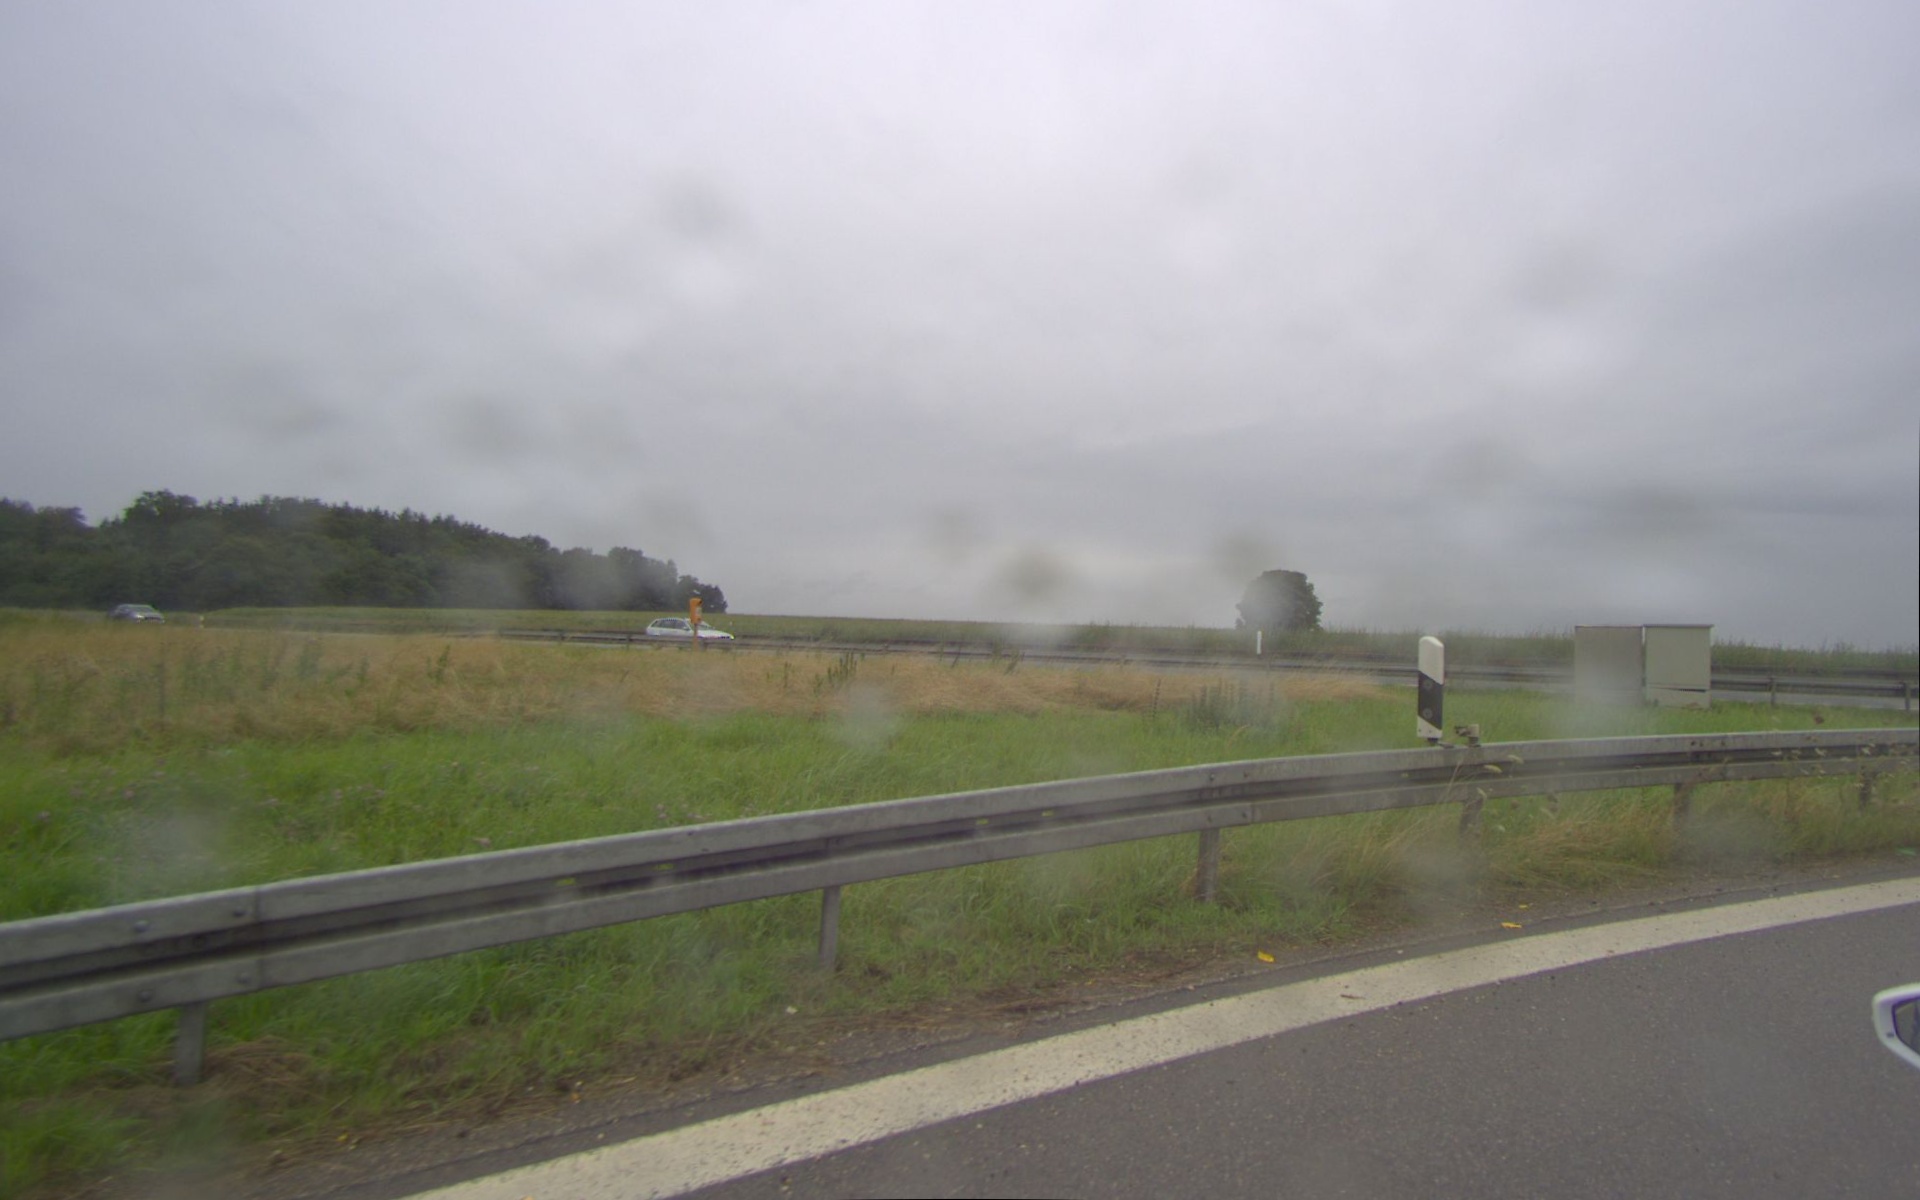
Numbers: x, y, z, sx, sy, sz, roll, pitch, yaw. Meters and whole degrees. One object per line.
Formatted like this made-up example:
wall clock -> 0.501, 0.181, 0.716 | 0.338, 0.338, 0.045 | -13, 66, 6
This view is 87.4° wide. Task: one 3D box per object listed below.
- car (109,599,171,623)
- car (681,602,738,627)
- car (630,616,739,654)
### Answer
car -> -60.447, 0.837, 74.032 | 5.011, 1.655, 1.865 | 0, -2, 31
car -> -18.538, 1.063, 74.223 | 3.927, 1.760, 1.733 | 0, -1, 29
car -> -12.134, 1.523, 44.103 | 4.712, 1.507, 1.876 | 1, -2, 31
